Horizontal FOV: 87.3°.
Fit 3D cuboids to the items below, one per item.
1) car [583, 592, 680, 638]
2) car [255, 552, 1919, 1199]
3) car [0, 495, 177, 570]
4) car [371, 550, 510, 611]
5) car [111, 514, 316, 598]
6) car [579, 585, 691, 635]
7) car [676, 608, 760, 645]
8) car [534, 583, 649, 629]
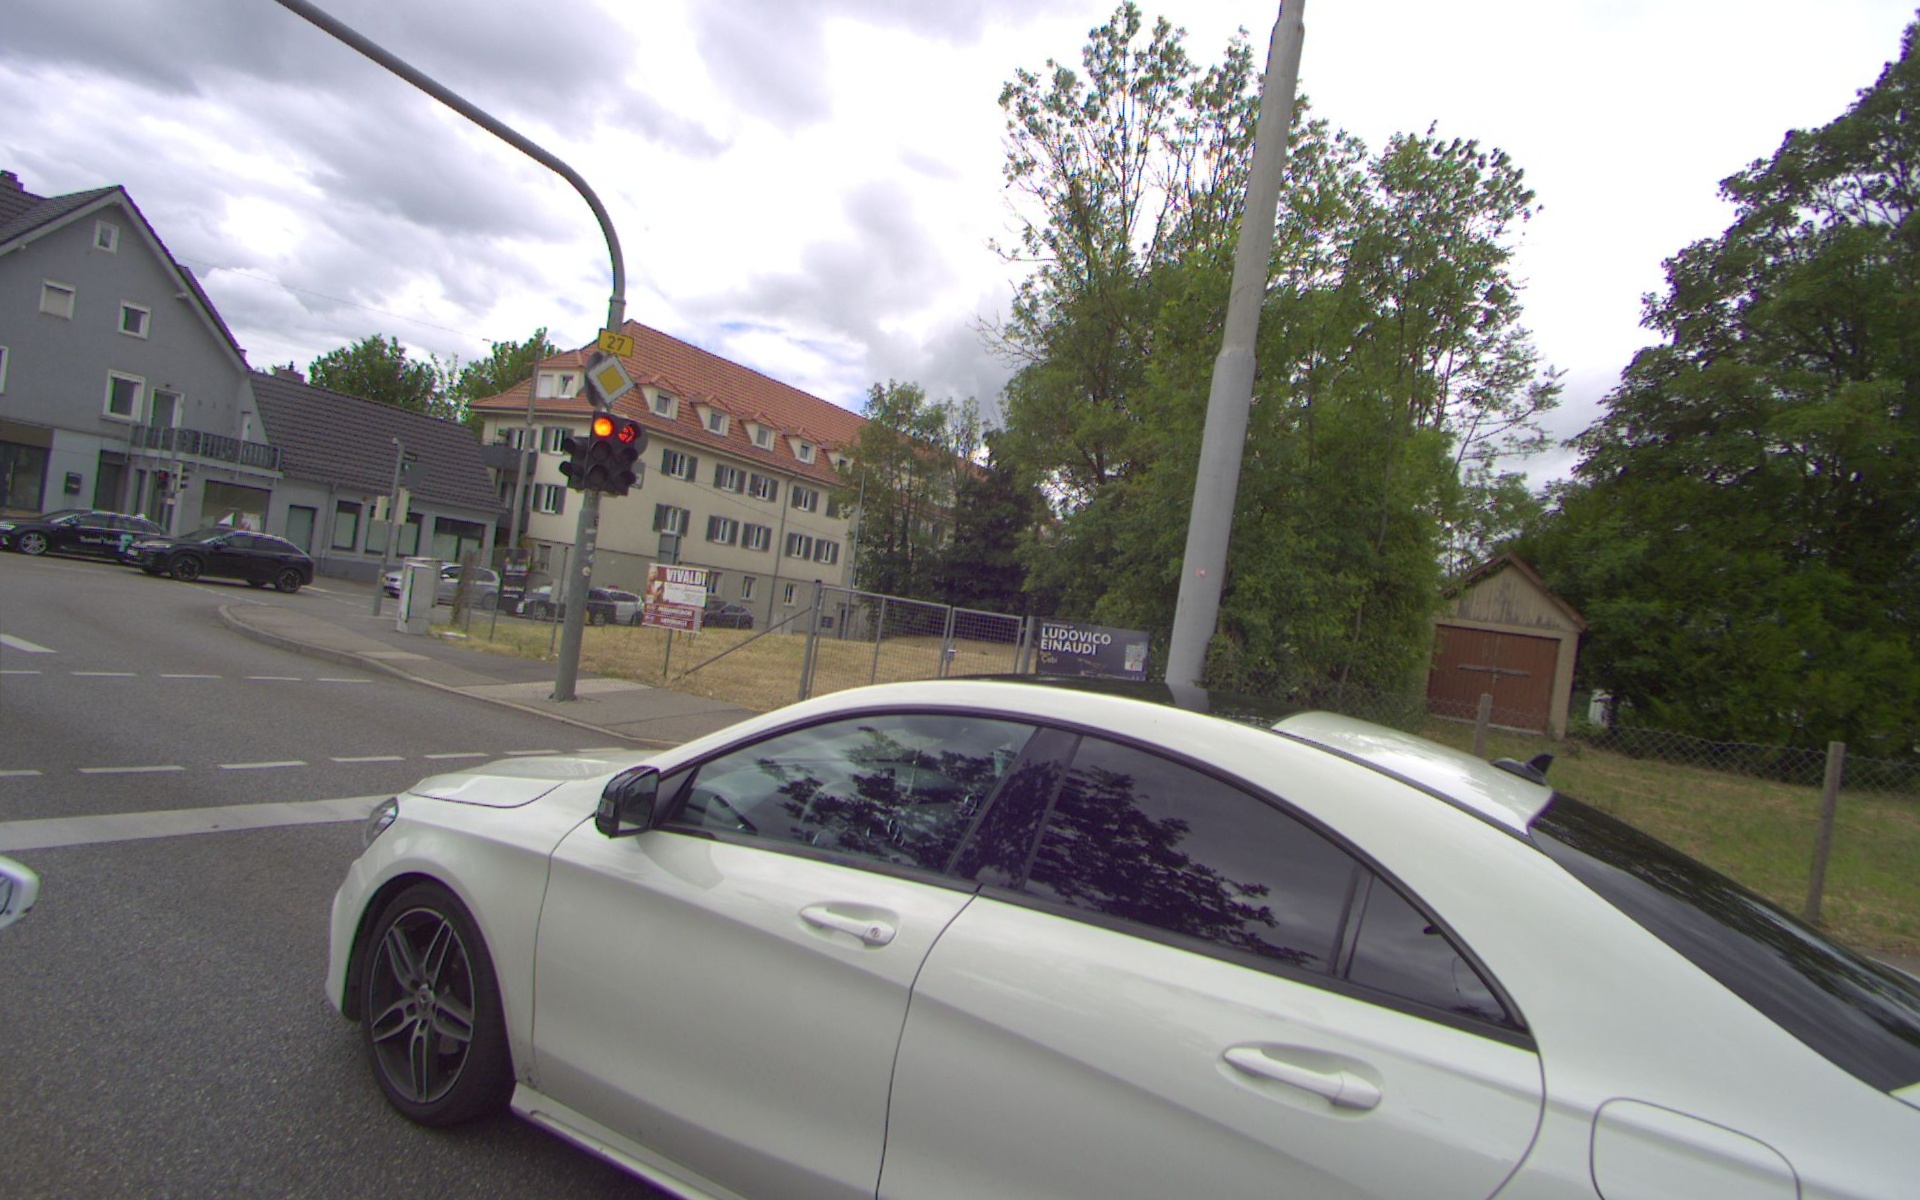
[{"bbox_3d":[-15.520,0.737,47.667,1.839,1.554,3.996,7,-2,32],"label":"car"},{"bbox_3d":[0.158,0.849,2.646,4.305,1.451,1.651,7,0,32],"label":"car"},{"bbox_3d":[-24.408,-1.865,27.640,1.862,1.512,4.095,7,-1,27],"label":"car"},{"bbox_3d":[-19.020,-0.689,37.008,1.798,1.557,4.110,7,-3,31],"label":"car"},{"bbox_3d":[-20.532,-1.164,27.883,1.808,1.537,4.076,7,-3,24],"label":"car"},{"bbox_3d":[-13.334,0.443,41.533,1.685,1.498,4.284,8,-1,29],"label":"car"},{"bbox_3d":[-12.625,1.399,52.655,1.839,1.393,3.996,7,-2,32],"label":"car"},{"bbox_3d":[-15.851,0.286,43.511,1.967,1.495,4.247,7,-1,33],"label":"car"}]
